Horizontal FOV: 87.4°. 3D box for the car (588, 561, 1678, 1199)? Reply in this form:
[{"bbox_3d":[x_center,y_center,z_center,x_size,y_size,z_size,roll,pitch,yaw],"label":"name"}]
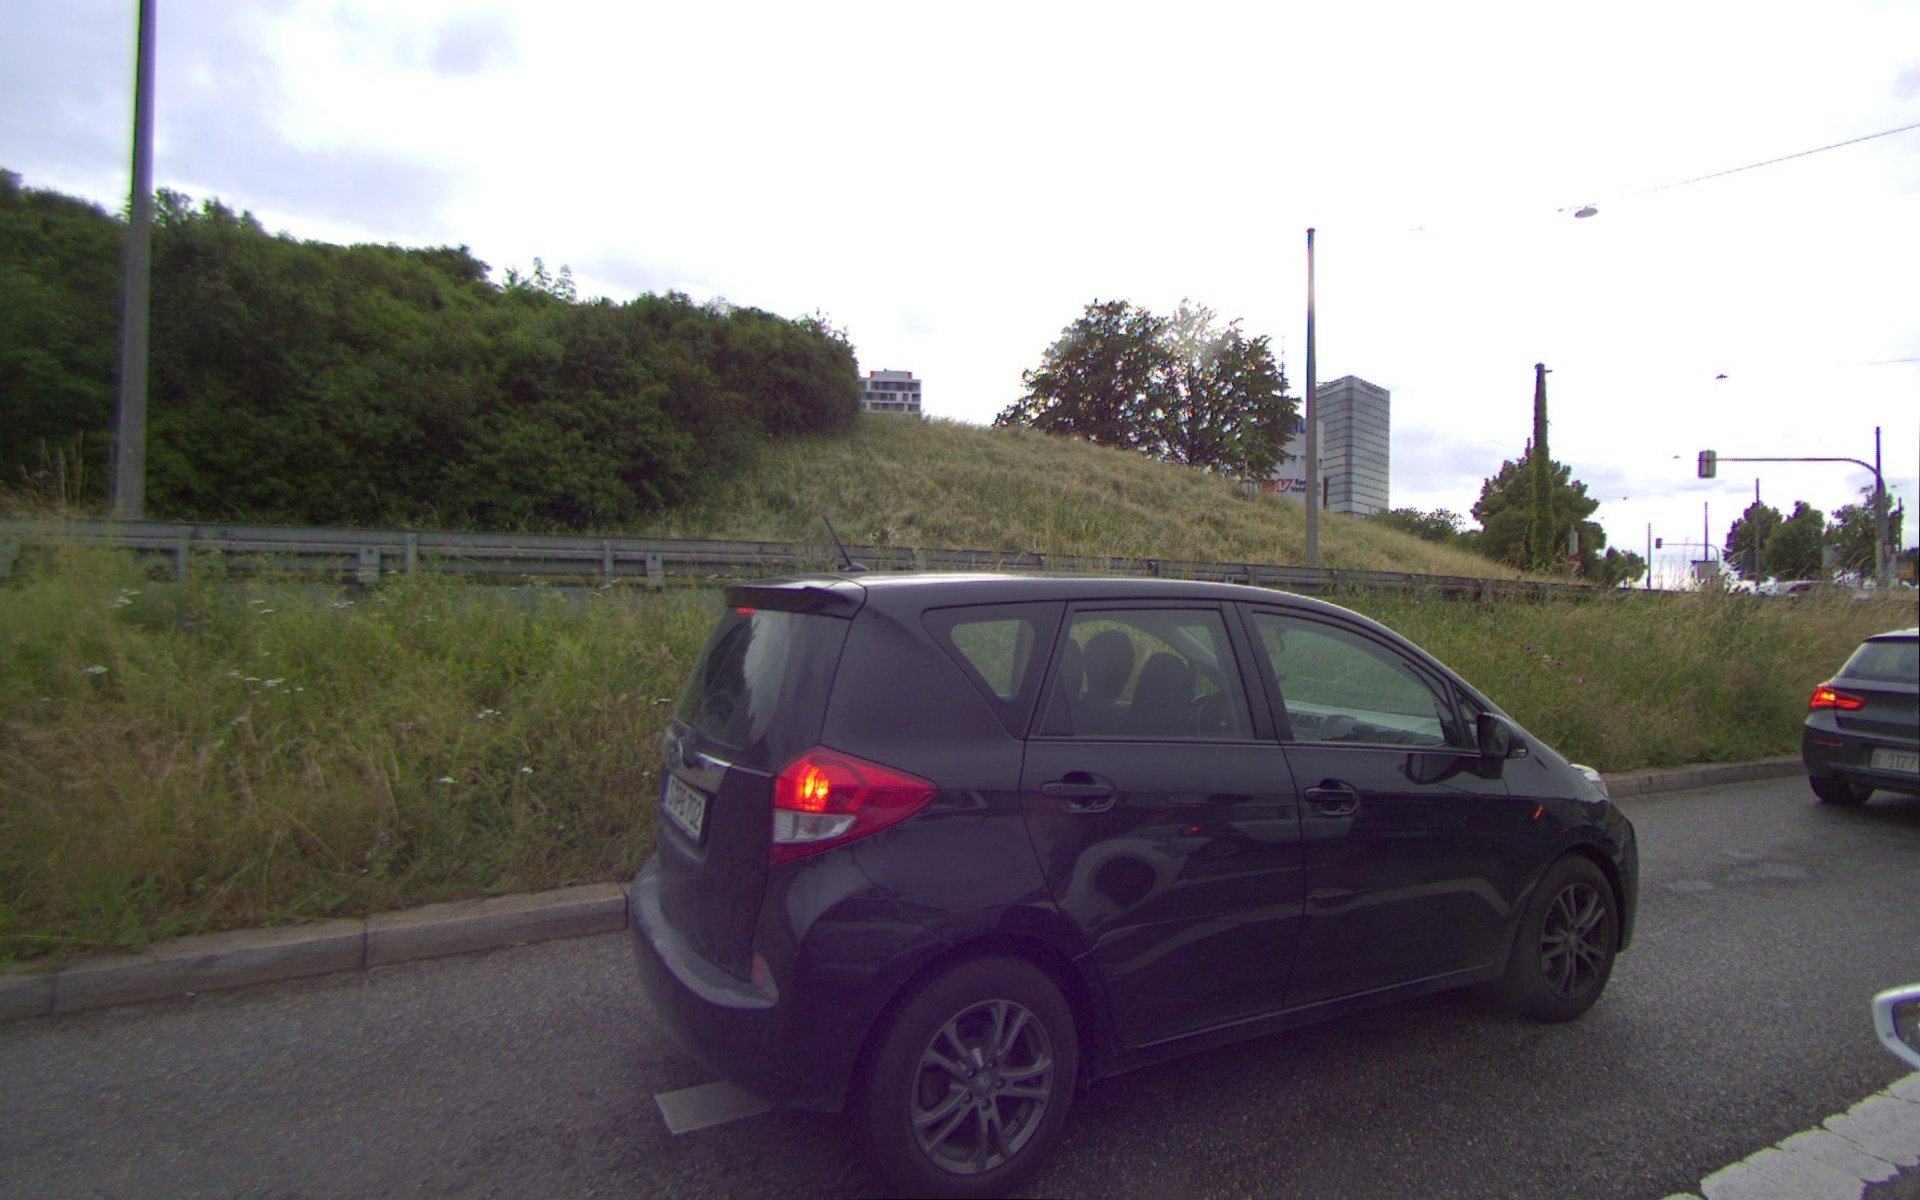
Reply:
[{"bbox_3d":[0.739,0.690,3.677,3.733,1.524,1.634,1,1,-30],"label":"car"}]

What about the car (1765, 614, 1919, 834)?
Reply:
[{"bbox_3d":[8.314,0.874,7.718,4.058,1.479,1.698,1,-1,-25],"label":"car"}]

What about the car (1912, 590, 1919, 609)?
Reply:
[{"bbox_3d":[78.372,-0.029,80.293,1.962,1.497,4.499,2,-1,25],"label":"car"}]

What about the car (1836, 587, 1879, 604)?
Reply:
[{"bbox_3d":[87.481,-0.442,97.961,1.962,1.497,4.417,2,-1,25],"label":"car"}]

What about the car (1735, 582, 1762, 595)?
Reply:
[{"bbox_3d":[110.816,-1.640,141.165,1.962,1.681,4.541,2,-1,25],"label":"car"}]

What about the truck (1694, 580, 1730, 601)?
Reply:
[{"bbox_3d":[121.729,-1.593,162.719,3.206,3.116,6.171,4,3,23],"label":"truck"}]

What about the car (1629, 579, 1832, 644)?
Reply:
[{"bbox_3d":[21.946,0.322,28.722,4.440,1.642,1.998,2,0,-6],"label":"car"}]
